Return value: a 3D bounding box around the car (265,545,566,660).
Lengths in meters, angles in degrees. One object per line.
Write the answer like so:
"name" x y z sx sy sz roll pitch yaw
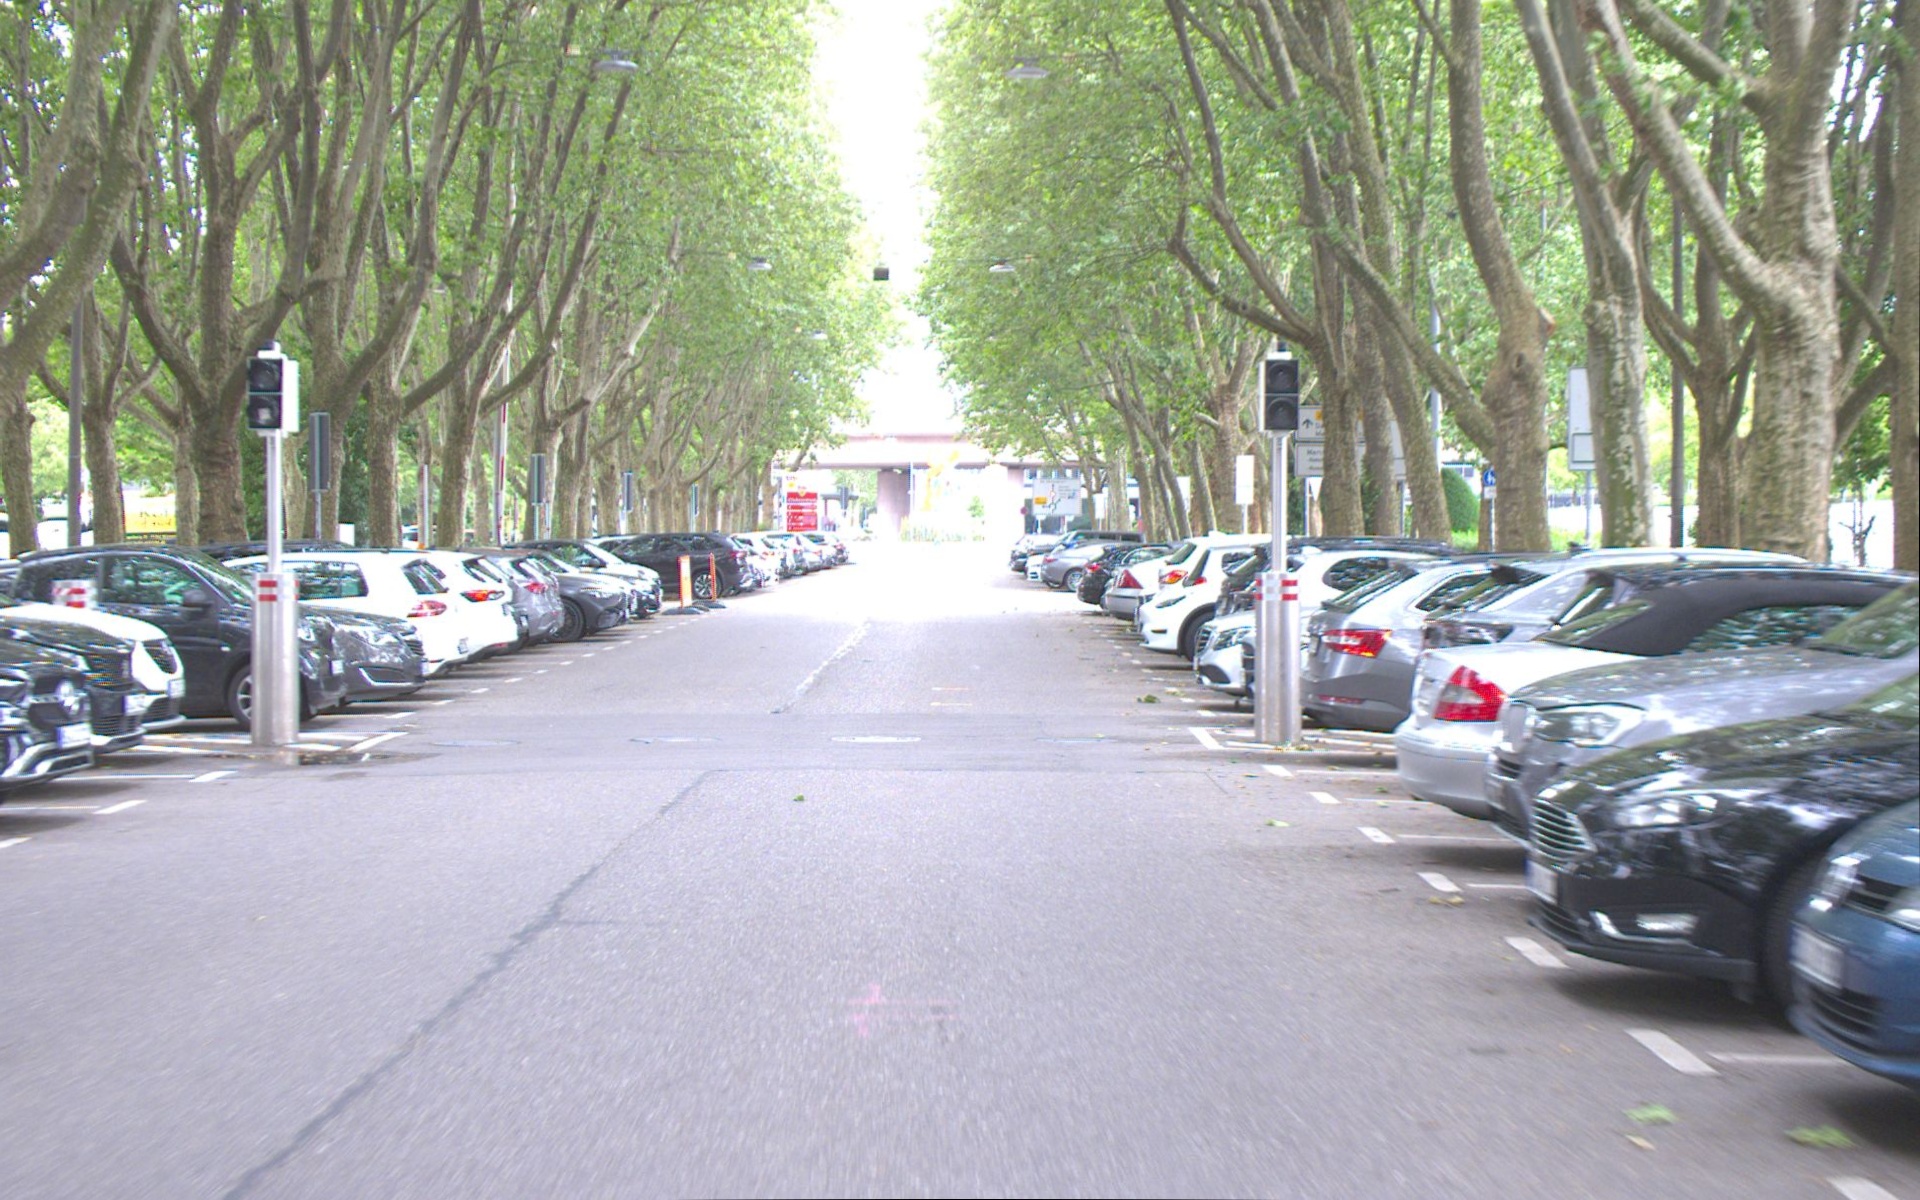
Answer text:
"car" -7.321 0.022 46.472 3.826 1.425 1.695 -1 1 -3

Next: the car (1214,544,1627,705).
"car" 4.508 0.229 33.991 3.775 1.465 1.624 1 1 -3

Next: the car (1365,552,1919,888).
"car" 4.109 0.552 16.435 4.113 1.465 1.694 1 1 0

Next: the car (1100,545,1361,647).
"car" 4.023 -0.076 51.608 3.645 1.419 1.986 1 1 -3

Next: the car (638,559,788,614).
"car" -6.732 -0.382 93.798 3.814 1.349 1.662 -2 1 6

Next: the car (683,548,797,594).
"car" -7.897 -1.059 123.665 3.814 1.510 1.686 -2 1 6

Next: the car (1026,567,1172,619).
"car" 4.089 -0.207 100.843 4.176 1.437 1.731 1 1 5

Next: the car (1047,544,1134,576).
"car" 6.627 -2.038 174.989 4.376 1.517 1.731 1 1 1

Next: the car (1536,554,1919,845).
"car" 5.157 0.530 18.683 3.776 1.465 1.624 1 1 2

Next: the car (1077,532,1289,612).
"car" 4.279 -0.547 66.330 3.918 1.447 1.556 1 1 -1

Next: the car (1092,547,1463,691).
"car" 3.767 0.214 41.246 4.166 1.591 1.855 1 1 -3

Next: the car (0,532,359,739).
"car" -7.035 0.277 28.488 3.826 1.602 1.695 -1 1 -3

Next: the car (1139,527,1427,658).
"car" 4.332 -0.119 46.446 3.645 1.661 1.519 1 1 -3

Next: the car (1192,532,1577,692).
"car" 4.486 0.110 36.700 3.775 1.592 1.821 1 1 -3

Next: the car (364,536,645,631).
"car" -7.415 -0.276 56.246 4.400 1.425 1.695 -1 1 -3

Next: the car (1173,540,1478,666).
"car" 4.666 0.024 44.167 3.645 1.514 1.644 1 1 -3

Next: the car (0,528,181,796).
"car" -7.014 0.394 21.630 3.826 1.602 1.834 -1 1 -3

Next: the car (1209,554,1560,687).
"car" 4.706 0.219 38.363 3.645 1.366 1.519 1 1 -3

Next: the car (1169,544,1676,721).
"car" 4.148 0.277 31.224 4.296 1.465 1.624 1 1 -3

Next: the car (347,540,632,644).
"car" -6.945 -0.132 51.013 4.020 1.425 1.695 -1 1 -3

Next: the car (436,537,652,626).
"car" -7.684 -0.354 63.755 3.826 1.549 1.695 -1 1 -3

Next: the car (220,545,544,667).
"car" -7.321 0.063 43.817 3.826 1.425 1.802 -1 1 -1

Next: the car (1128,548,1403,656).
"car" 4.275 0.018 48.374 3.645 1.405 1.519 1 1 -3

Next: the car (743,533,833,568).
"car" -7.639 -2.208 152.914 3.814 1.510 1.686 1 1 3

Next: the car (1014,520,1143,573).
"car" 4.110 -1.860 119.654 4.376 1.745 1.731 1 1 -2

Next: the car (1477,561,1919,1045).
"car" 3.965 0.647 11.366 4.211 1.446 1.611 1 1 -1

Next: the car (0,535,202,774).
"car" -7.530 0.397 24.137 4.043 1.602 1.694 -1 0 -3

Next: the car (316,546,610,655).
"car" -7.036 -0.002 48.854 3.827 1.425 1.694 -1 1 4

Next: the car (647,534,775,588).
"car" -7.975 -1.266 110.282 3.814 1.597 1.785 -2 1 6

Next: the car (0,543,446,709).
"car" -6.961 0.219 31.037 4.400 1.360 1.695 -1 1 -3

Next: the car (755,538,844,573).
"car" -7.226 -2.003 154.827 3.814 1.510 1.686 1 1 3

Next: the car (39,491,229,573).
"car" -23.775 -1.955 99.082 5.077 2.224 1.536 1 1 -1

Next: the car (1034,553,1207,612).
"car" 4.376 -0.483 93.201 4.575 1.481 2.000 1 1 5

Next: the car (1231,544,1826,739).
"car" 4.634 0.322 28.455 4.614 1.465 1.650 1 1 0

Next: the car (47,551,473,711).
"car" -6.780 0.283 33.564 3.826 1.425 1.695 -1 1 -3

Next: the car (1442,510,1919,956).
"car" 4.146 0.520 13.931 4.113 1.664 1.694 1 1 1

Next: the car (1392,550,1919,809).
"car" 4.680 0.468 21.235 3.775 1.465 1.667 1 1 0

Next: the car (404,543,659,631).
"car" -7.571 -0.242 61.018 4.332 1.425 1.695 -1 1 -3

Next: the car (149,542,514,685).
"car" -7.047 0.133 38.825 3.826 1.492 1.695 -1 1 -3

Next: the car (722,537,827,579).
"car" -7.233 -1.650 134.222 3.814 1.510 1.686 -2 1 6

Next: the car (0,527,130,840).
"car" -6.782 0.453 18.617 4.068 1.602 1.799 -1 1 3

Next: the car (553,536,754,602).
"car" -7.384 -0.750 83.190 4.664 1.422 2.000 -2 1 -1

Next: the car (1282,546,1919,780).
"car" 4.518 0.412 23.827 4.366 1.465 1.624 1 1 -1

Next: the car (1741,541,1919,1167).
"car" 4.140 0.618 8.827 3.826 1.450 1.694 1 1 -1
